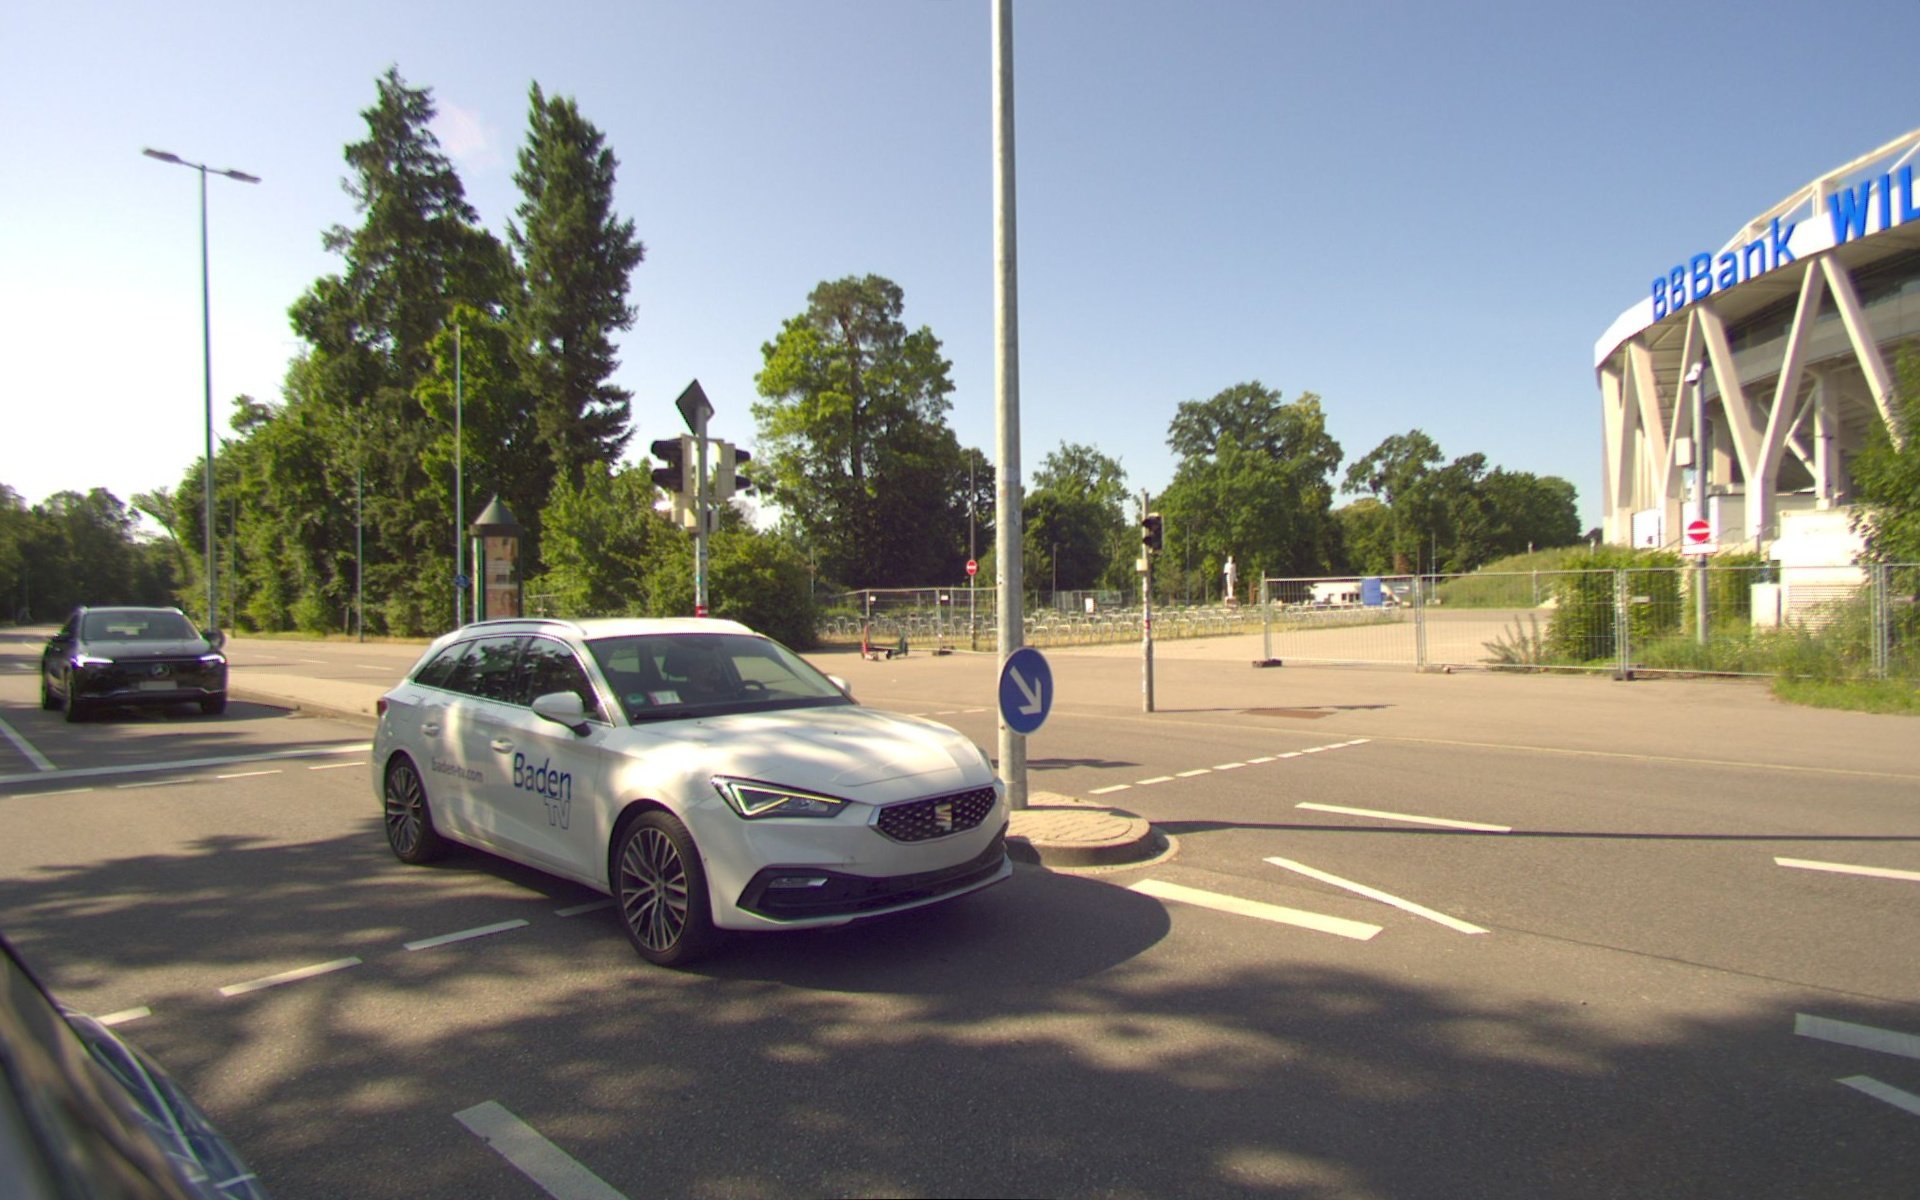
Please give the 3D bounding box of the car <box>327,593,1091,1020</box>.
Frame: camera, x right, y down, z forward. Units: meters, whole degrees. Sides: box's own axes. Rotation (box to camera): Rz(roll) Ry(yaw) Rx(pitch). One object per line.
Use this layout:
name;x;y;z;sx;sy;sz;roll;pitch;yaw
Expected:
car;-1.721;0.743;5.618;4.717;1.437;1.707;-1;-2;41

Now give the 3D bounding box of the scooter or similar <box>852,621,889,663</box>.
scooter or similar;-2.554;1.184;28.689;0.390;1.154;1.198;0;-1;-43

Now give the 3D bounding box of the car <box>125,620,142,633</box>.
car;-124.667;3.939;152.641;1.848;1.874;4.009;0;-1;-37

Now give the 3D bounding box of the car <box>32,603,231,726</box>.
car;-12.691;0.859;15.405;4.273;1.608;1.785;0;-1;43

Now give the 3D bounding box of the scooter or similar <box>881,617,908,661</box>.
scooter or similar;-1.884;1.118;29.304;0.393;1.231;1.075;-1;-1;18
